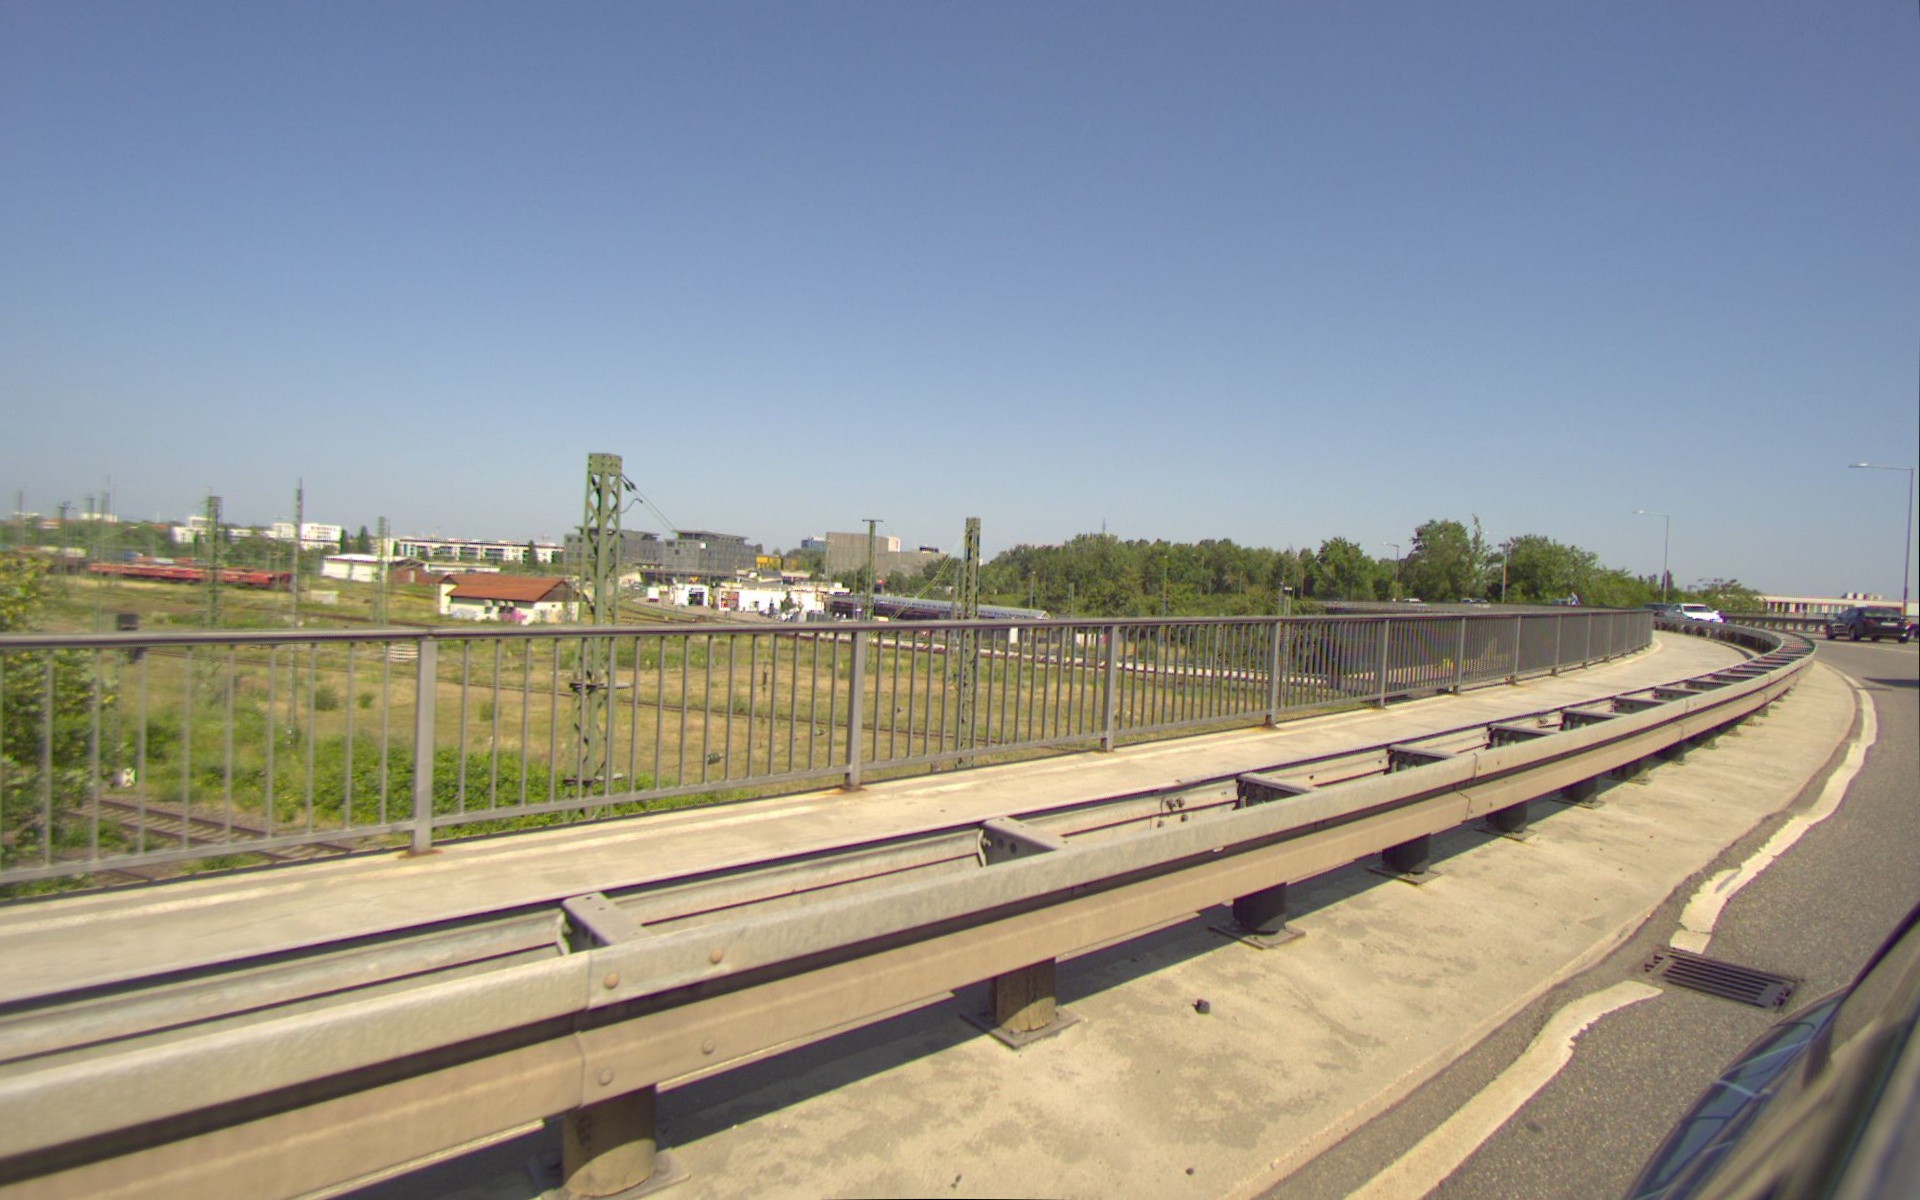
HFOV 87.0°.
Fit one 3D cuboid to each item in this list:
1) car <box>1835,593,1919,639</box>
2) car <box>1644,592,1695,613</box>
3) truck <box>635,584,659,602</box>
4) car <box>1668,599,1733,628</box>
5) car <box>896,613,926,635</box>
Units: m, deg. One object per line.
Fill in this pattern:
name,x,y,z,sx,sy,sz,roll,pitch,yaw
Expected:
car,38.960,0.626,42.684,1.827,1.849,4.650,0,0,24
car,49.107,0.178,70.122,1.803,1.448,4.827,0,0,22
truck,-77.489,-1.784,250.392,3.743,4.080,13.296,4,-1,-24
car,40.736,0.732,55.767,1.824,1.507,4.123,0,0,20
car,-7.317,3.469,149.831,2.263,2.694,5.387,-5,5,-28
